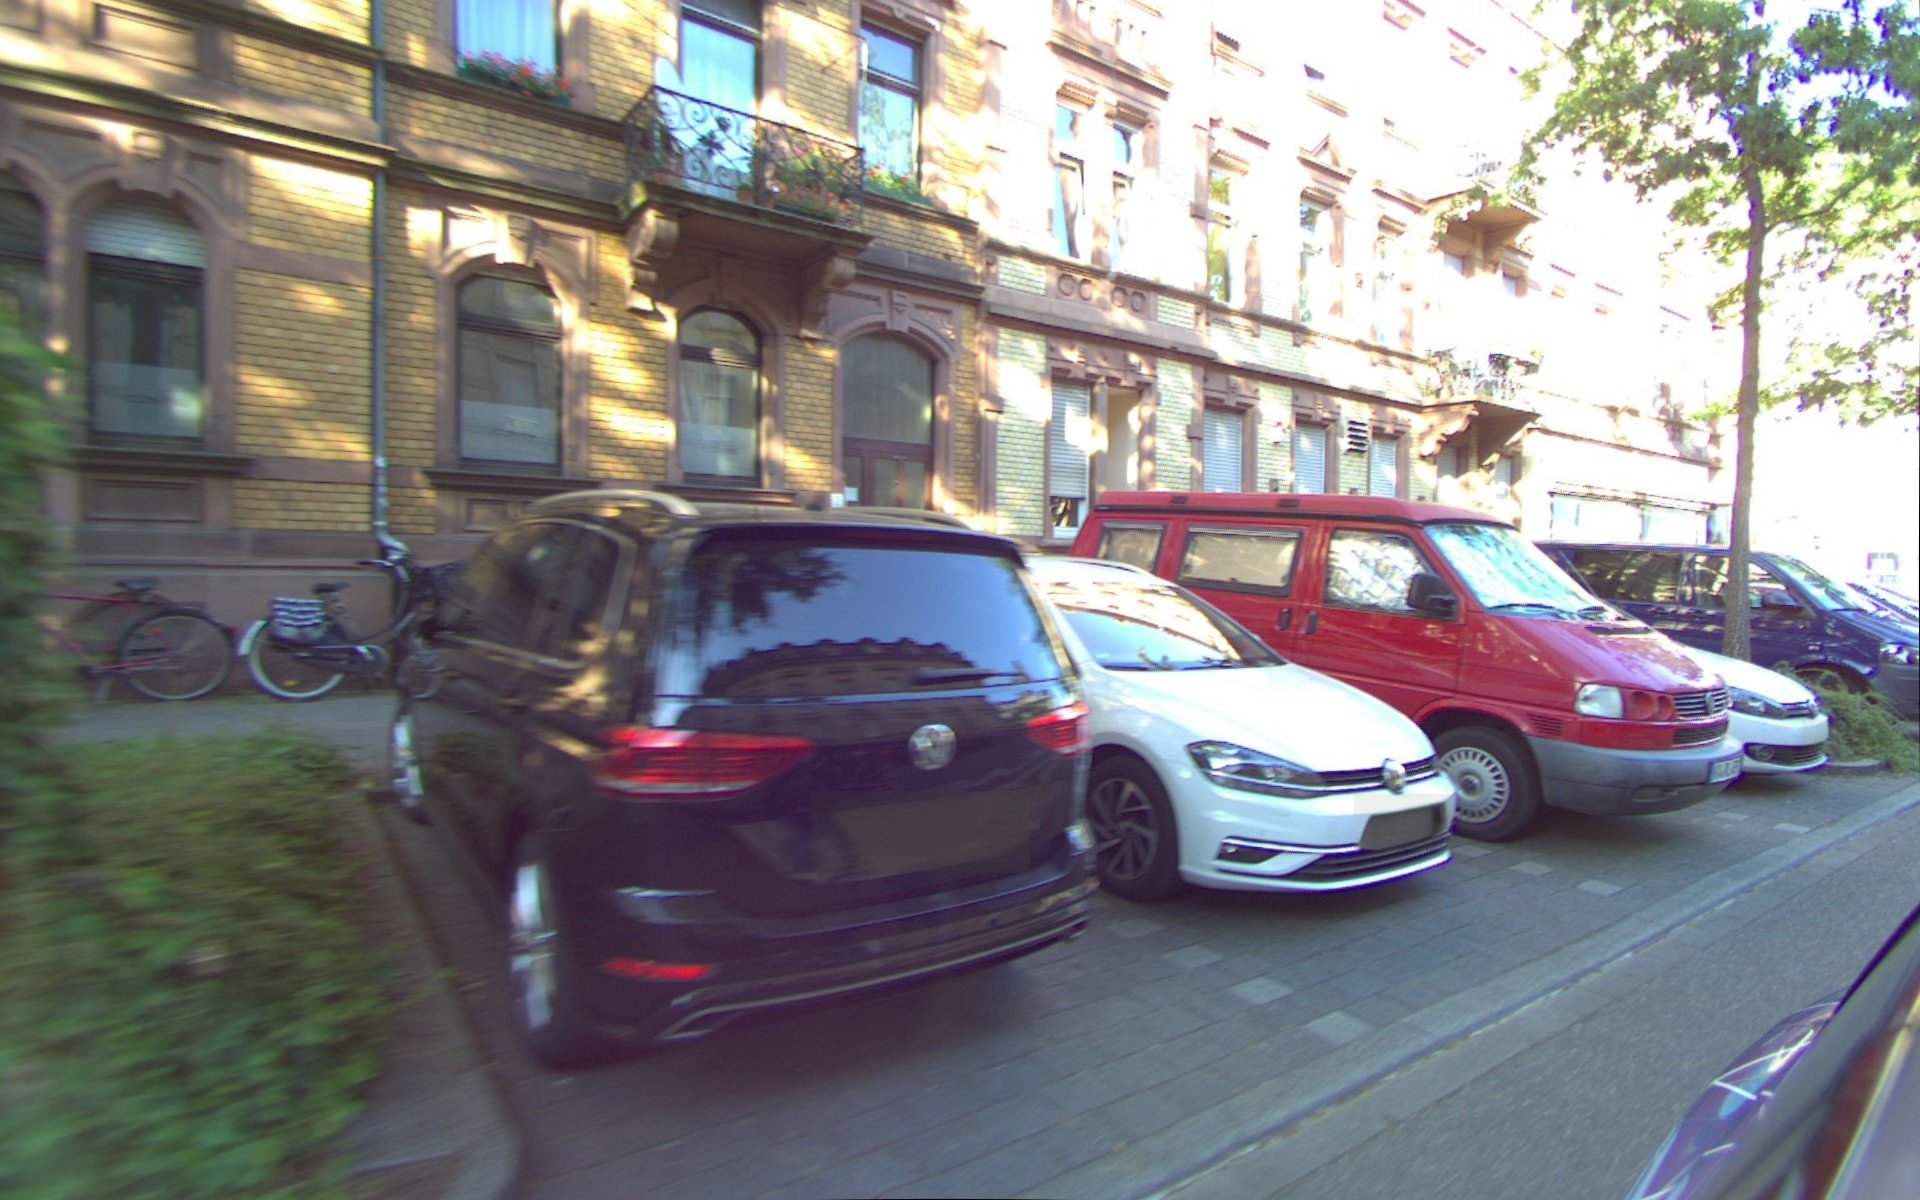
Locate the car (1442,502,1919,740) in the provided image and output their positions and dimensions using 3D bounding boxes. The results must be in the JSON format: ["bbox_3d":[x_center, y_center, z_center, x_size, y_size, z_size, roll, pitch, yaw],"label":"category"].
[{"bbox_3d":[8.623,0.137,11.878,1.955,2.242,5.038,0,2,-35],"label":"car"}]

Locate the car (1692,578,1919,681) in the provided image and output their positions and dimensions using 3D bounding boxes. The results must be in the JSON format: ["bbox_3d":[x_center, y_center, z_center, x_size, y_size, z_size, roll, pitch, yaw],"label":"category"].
[{"bbox_3d":[14.810,0.456,16.061,1.815,1.430,4.805,-1,3,-33],"label":"car"}]

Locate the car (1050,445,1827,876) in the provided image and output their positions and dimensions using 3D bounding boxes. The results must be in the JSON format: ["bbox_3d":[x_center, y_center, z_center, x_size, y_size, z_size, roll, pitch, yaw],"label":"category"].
[{"bbox_3d":[2.895,0.145,7.271,1.843,2.058,4.692,0,4,-35],"label":"car"}]

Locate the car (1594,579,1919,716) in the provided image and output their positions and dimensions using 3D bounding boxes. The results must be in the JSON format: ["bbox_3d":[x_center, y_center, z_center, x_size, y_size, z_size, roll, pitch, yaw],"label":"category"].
[{"bbox_3d":[10.980,0.518,13.345,1.692,1.553,4.120,-1,2,-35],"label":"car"}]

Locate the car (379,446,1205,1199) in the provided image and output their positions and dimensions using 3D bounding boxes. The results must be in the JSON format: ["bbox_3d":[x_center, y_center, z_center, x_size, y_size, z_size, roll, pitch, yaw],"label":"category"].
[{"bbox_3d":[-1.212,0.371,4.334,1.803,1.647,4.201,-1,4,-36],"label":"car"}]

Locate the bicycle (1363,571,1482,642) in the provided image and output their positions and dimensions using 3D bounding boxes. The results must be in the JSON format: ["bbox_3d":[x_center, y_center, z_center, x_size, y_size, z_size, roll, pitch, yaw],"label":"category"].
[{"bbox_3d":[8.378,0.089,18.289,2.542,1.185,0.673,-1,4,-34],"label":"bicycle"}]

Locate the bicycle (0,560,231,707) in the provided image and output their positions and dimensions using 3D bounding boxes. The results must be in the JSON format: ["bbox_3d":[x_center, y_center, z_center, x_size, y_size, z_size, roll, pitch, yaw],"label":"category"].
[{"bbox_3d":[-6.341,0.222,7.233,1.832,0.974,0.406,0,4,-36],"label":"bicycle"}]

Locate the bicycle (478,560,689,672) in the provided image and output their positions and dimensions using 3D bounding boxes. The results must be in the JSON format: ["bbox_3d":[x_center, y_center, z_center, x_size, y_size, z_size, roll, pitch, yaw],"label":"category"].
[{"bbox_3d":[-3.555,0.131,9.646,1.832,0.974,0.406,0,4,-36],"label":"bicycle"}]

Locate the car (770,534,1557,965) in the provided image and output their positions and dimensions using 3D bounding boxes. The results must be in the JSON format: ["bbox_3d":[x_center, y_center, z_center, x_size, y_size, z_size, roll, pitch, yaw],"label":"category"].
[{"bbox_3d":[0.664,0.409,6.111,1.843,1.532,4.694,0,4,-34],"label":"car"}]

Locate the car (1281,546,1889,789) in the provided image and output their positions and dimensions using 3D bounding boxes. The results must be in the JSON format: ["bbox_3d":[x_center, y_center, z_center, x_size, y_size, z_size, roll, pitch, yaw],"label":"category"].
[{"bbox_3d":[5.107,0.347,8.816,1.844,1.528,4.068,-1,4,-36],"label":"car"}]

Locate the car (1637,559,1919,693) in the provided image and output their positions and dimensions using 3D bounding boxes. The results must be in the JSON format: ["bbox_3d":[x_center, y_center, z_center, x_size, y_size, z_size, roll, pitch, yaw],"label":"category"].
[{"bbox_3d":[12.871,0.304,14.706,1.813,1.699,4.712,0,3,-27],"label":"car"}]

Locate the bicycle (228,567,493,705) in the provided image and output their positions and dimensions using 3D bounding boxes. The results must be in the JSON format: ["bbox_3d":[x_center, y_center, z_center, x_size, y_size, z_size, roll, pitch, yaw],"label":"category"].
[{"bbox_3d":[-4.788,0.237,8.211,0.403,0.974,1.843,5,4,36],"label":"bicycle"}]
